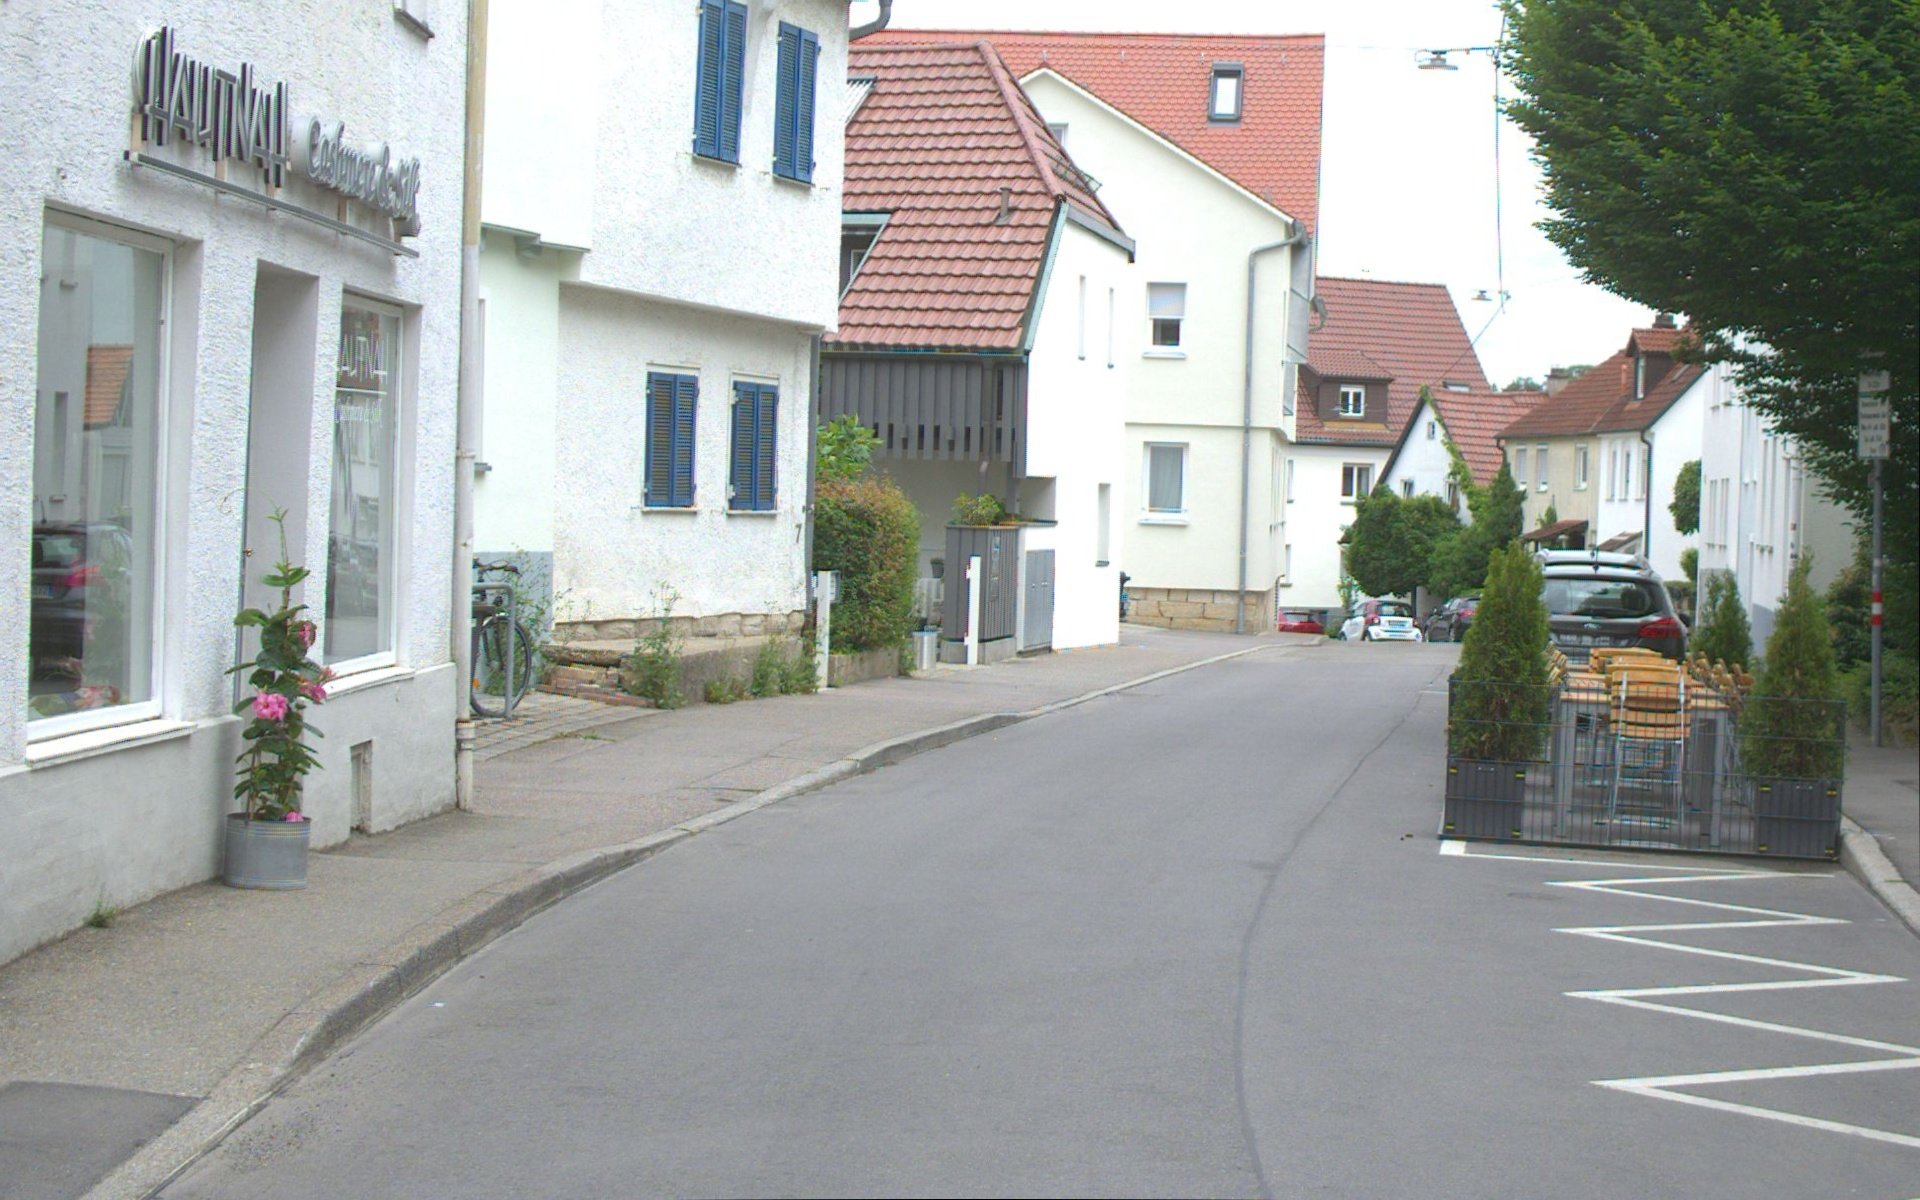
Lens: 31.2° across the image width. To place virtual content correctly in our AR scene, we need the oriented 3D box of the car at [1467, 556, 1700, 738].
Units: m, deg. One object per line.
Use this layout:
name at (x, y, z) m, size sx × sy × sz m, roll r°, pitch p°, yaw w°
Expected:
car at (5.924, 0.385, 32.693) m, size 1.949 × 1.502 × 4.818 m, roll 3°, pitch 1°, yaw 10°

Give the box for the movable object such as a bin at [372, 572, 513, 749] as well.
movable object such as a bin at (-3.193, 0.368, 21.244) m, size 0.554 × 0.996 × 0.586 m, roll 8°, pitch 5°, yaw 20°

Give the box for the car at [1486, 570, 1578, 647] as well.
car at (13.682, 0.220, 82.435) m, size 1.873 × 1.707 × 4.146 m, roll 2°, pitch 0°, yaw 6°

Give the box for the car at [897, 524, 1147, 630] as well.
car at (1.067, -0.383, 57.995) m, size 3.733 × 1.407 × 2.119 m, roll 5°, pitch 0°, yaw 14°

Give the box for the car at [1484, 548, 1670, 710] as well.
car at (6.862, 0.289, 38.598) m, size 1.863 × 1.627 × 4.899 m, roll 2°, pitch 1°, yaw 9°

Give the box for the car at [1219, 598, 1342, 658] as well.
car at (10.096, 0.887, 108.507) m, size 1.993 × 1.678 × 4.000 m, roll -3°, pitch 0°, yaw -25°

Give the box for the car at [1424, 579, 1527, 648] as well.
car at (13.962, 0.387, 93.292) m, size 1.993 × 1.707 × 4.000 m, roll 2°, pitch -2°, yaw -3°

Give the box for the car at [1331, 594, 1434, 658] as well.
car at (12.588, 0.758, 102.685) m, size 1.962 × 1.707 × 4.001 m, roll 3°, pitch 1°, yaw -8°

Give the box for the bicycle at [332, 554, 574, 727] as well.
bicycle at (-3.292, 0.241, 22.518) m, size 0.443 × 1.035 × 2.090 m, roll 7°, pitch 4°, yaw 23°
